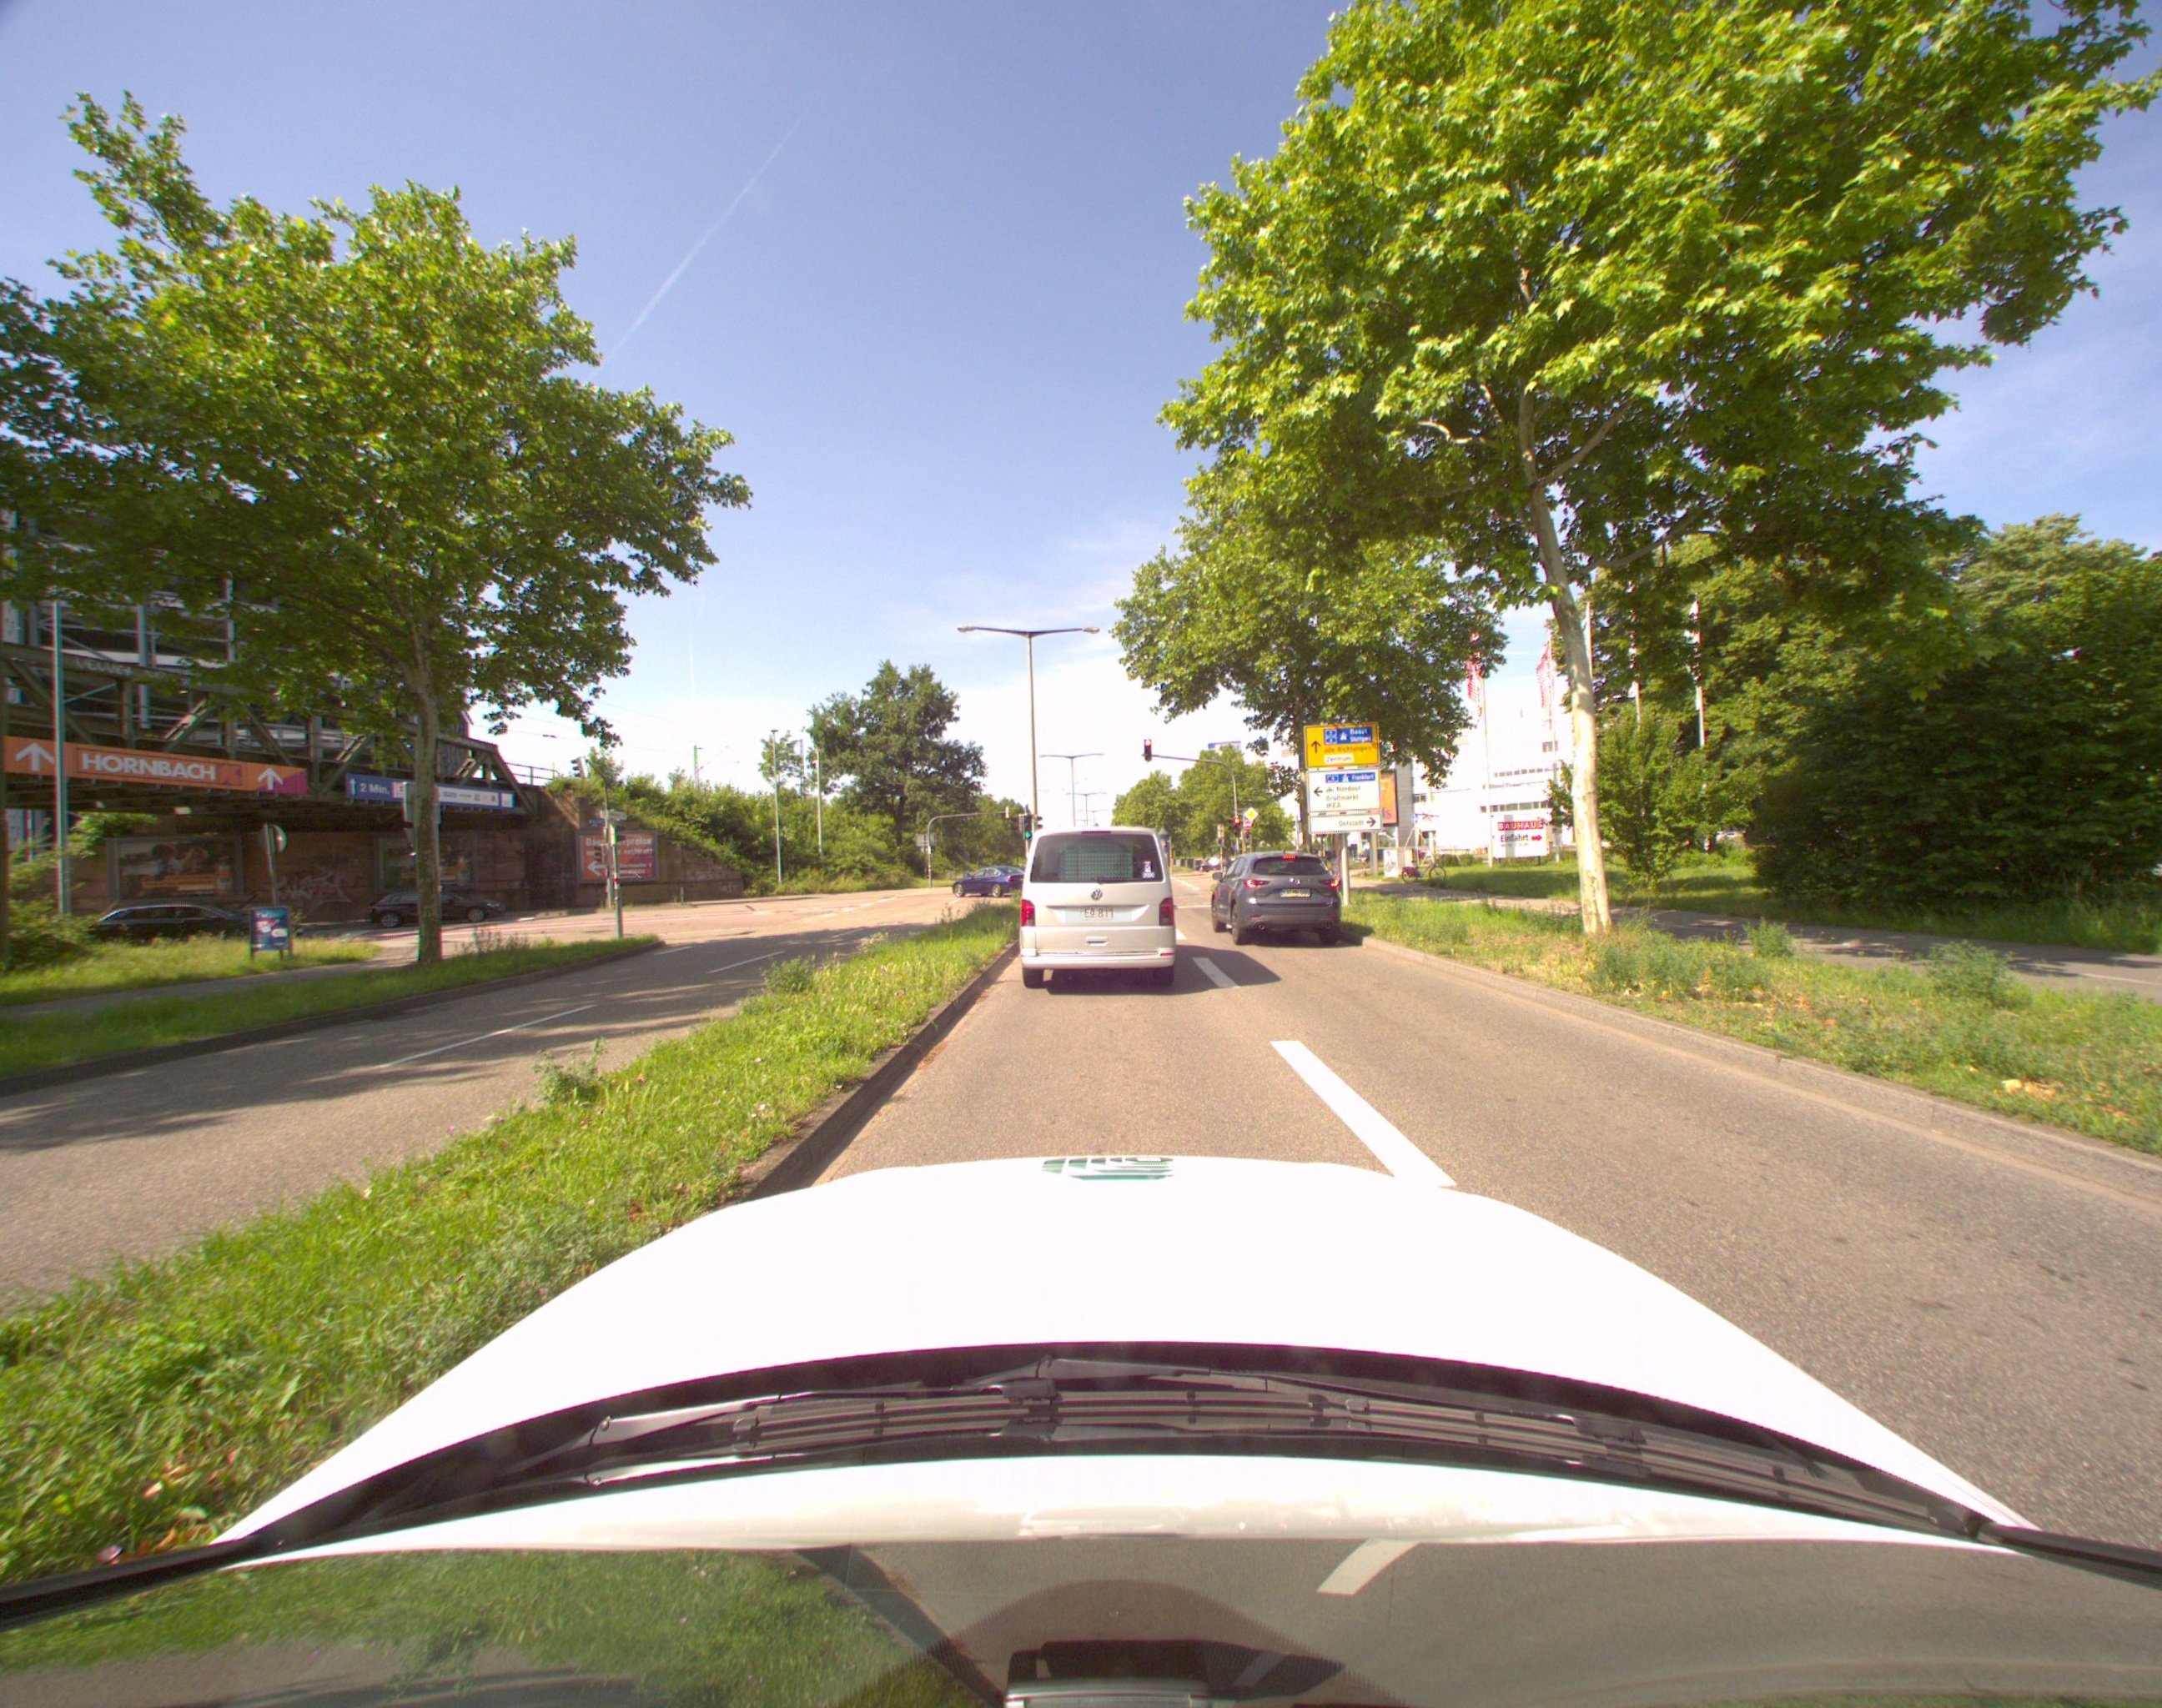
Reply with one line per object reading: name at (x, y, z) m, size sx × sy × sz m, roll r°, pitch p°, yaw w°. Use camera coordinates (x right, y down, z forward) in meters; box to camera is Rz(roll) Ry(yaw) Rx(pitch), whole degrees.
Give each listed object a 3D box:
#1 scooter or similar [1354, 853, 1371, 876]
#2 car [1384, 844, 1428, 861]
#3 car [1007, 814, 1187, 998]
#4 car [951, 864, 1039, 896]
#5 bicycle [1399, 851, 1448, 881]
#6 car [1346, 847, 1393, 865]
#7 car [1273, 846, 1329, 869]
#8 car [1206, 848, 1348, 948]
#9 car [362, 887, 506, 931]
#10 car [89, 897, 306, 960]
scooter or similar at (14.073, 0.541, 40.786) m, size 0.423 × 1.126 × 1.124 m, roll -3°, pitch -1°, yaw 1°
car at (31.973, -0.137, 80.036) m, size 4.646 × 1.444 × 1.762 m, roll -2°, pitch -1°, yaw -35°
car at (0.256, 0.599, 11.517) m, size 1.934 × 1.971 × 5.023 m, roll -2°, pitch -1°, yaw 2°
car at (-4.149, 1.269, 38.940) m, size 4.270 × 1.397 × 1.803 m, roll -3°, pitch -1°, yaw 44°
bicycle at (14.151, 0.502, 33.648) m, size 1.771 × 1.108 × 0.506 m, roll -4°, pitch -1°, yaw 20°
car at (27.266, 0.206, 76.884) m, size 4.646 × 1.444 × 1.762 m, roll -2°, pitch -1°, yaw -35°
car at (18.143, 0.310, 67.134) m, size 4.646 × 1.689 × 1.895 m, roll -2°, pitch -1°, yaw -35°
car at (3.645, 0.760, 15.950) m, size 1.759 × 1.659 × 4.497 m, roll -1°, pitch -1°, yaw 1°
car at (-25.723, 2.144, 32.592) m, size 4.353 × 1.395 × 1.752 m, roll -2°, pitch 0°, yaw -35°
car at (-25.456, 2.091, 23.691) m, size 3.959 × 1.481 × 1.804 m, roll -1°, pitch -1°, yaw -34°
